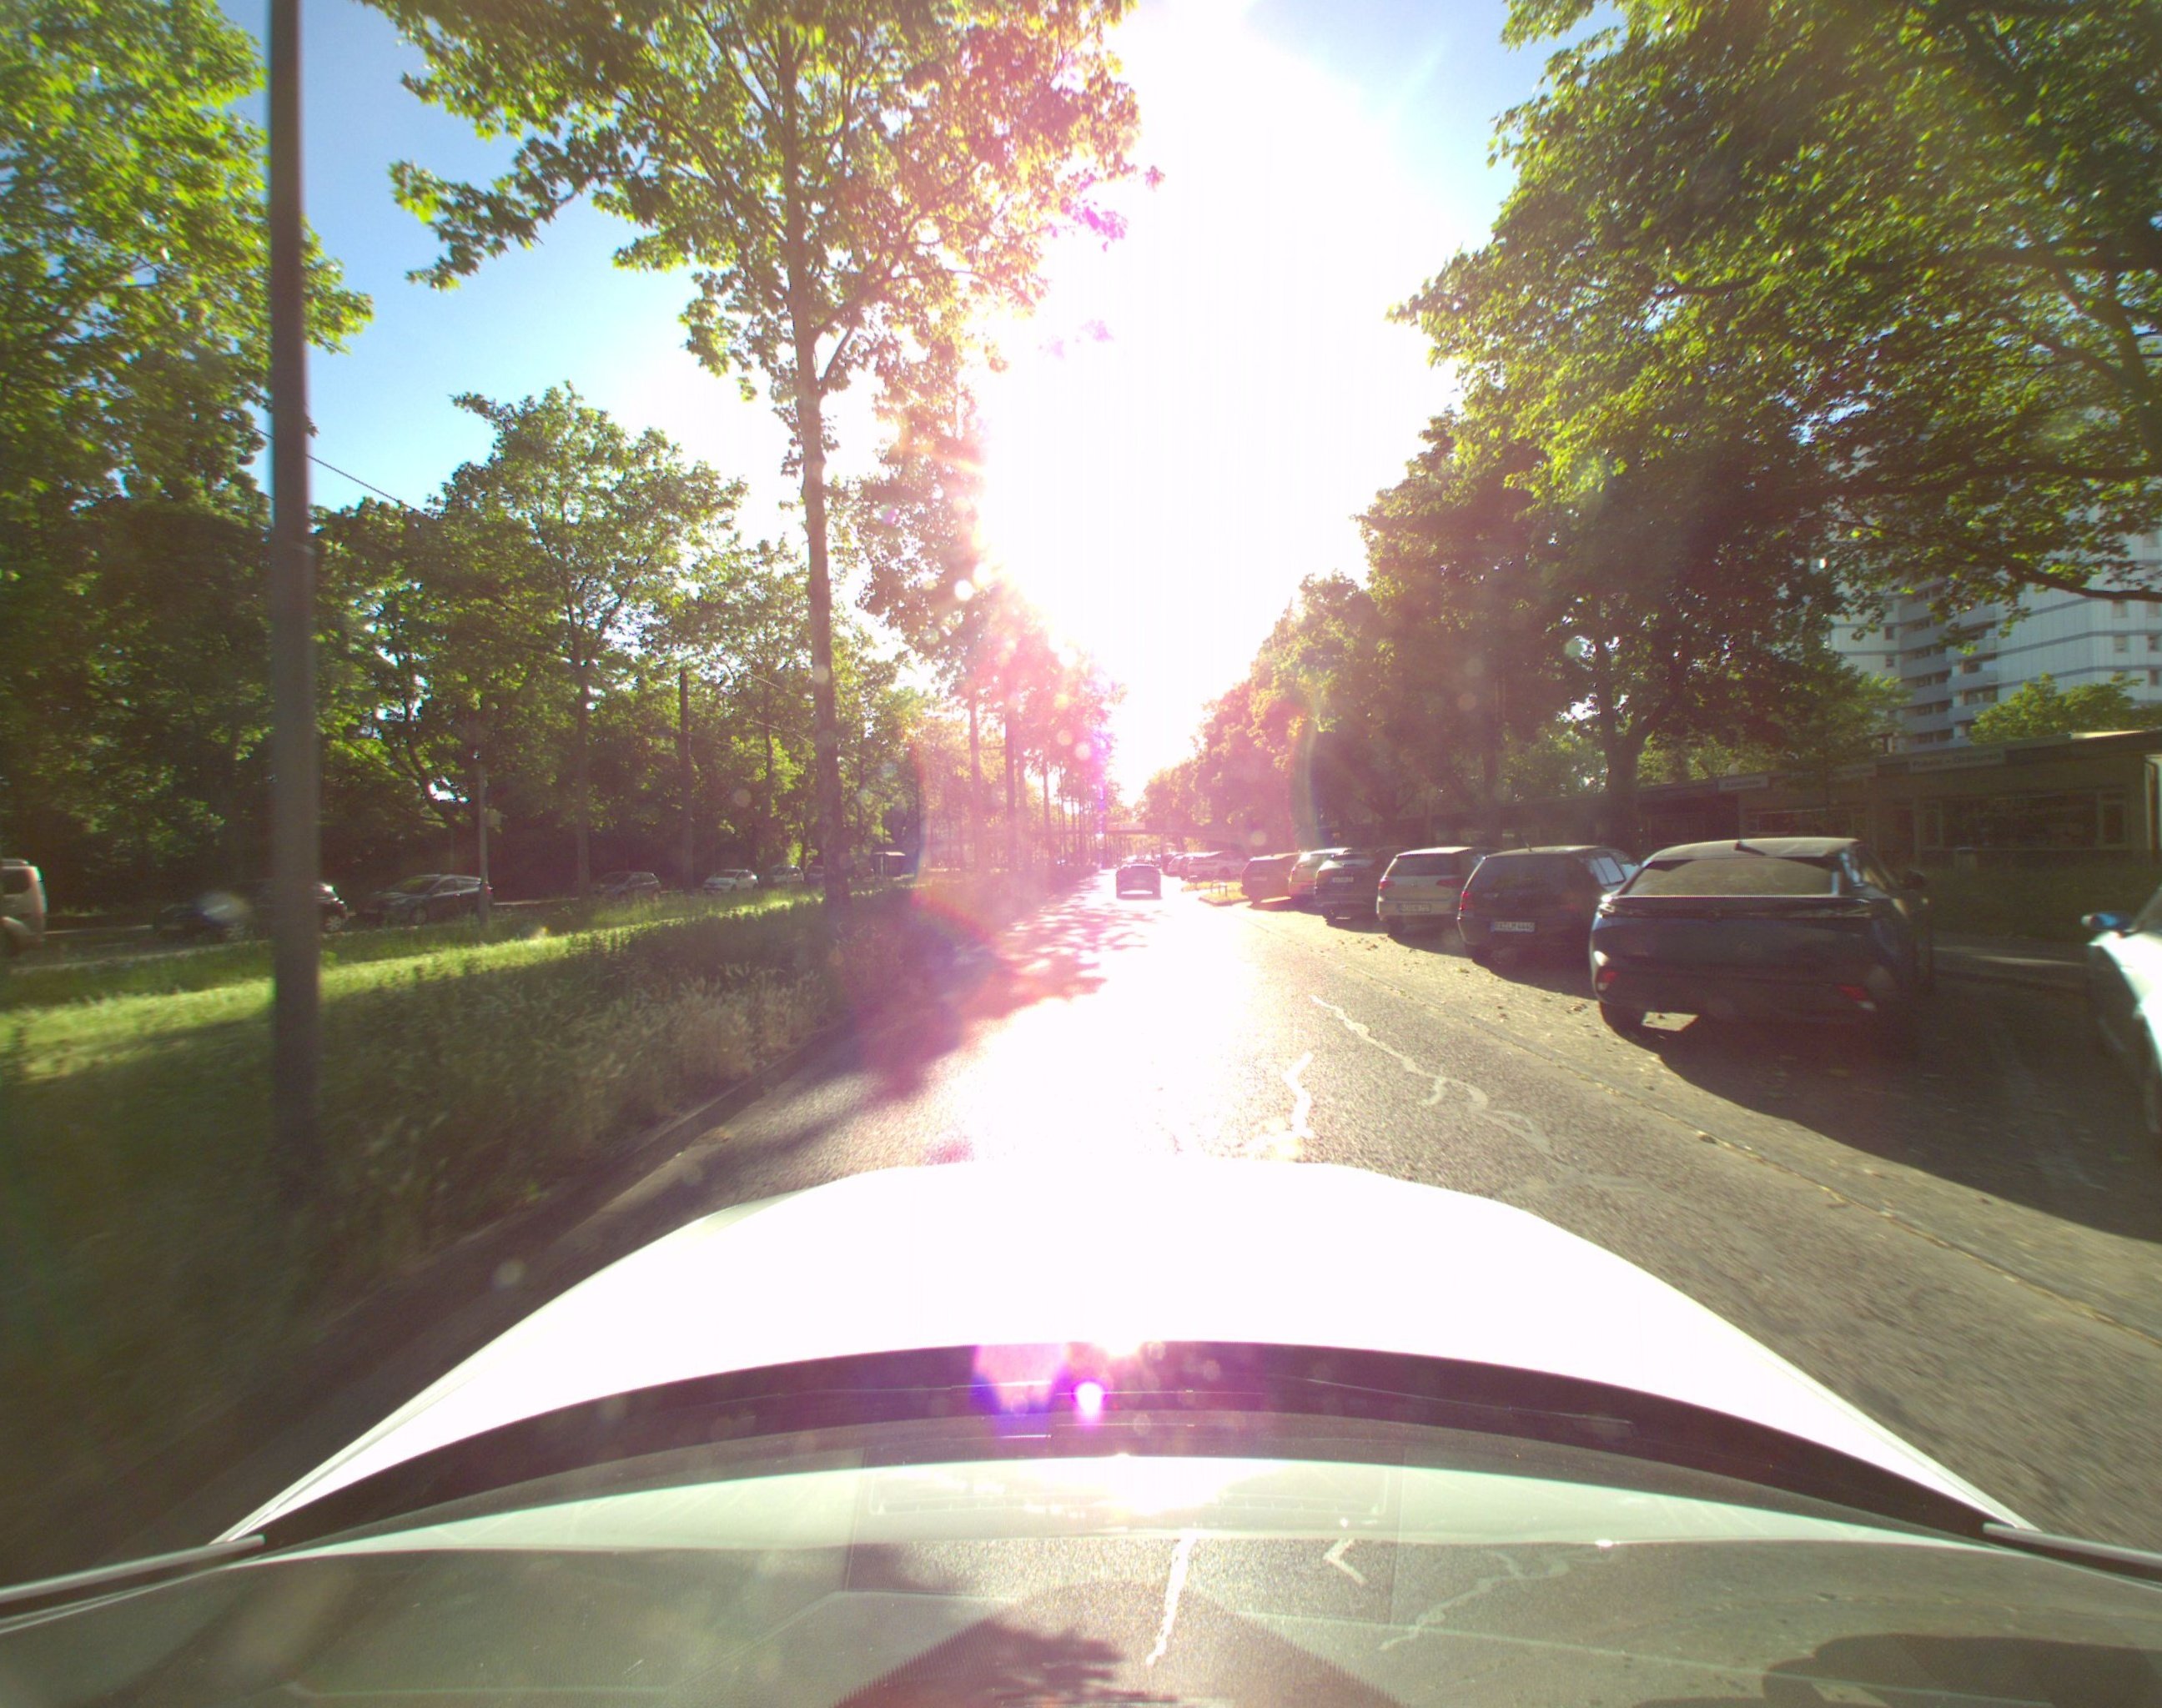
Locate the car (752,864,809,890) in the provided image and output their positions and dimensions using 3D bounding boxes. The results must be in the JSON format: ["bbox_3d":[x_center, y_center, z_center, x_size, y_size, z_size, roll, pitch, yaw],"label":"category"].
[{"bbox_3d":[-20.018,1.511,54.380,1.985,1.590,4.172,1,0,4],"label":"car"}]

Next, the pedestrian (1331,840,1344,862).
[{"bbox_3d":[23.909,-0.257,75.926,0.826,2.013,0.742,-1,0,-39],"label":"pedestrian"}]

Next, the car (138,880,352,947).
[{"bbox_3d":[-21.627,1.472,21.285,1.638,1.453,3.667,1,0,4],"label":"car"}]

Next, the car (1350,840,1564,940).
[{"bbox_3d":[6.927,0.578,14.763,4.487,1.450,1.896,-2,-1,-43],"label":"car"}]

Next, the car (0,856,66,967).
[{"bbox_3d":[-21.587,1.104,14.103,1.638,2.093,4.920,1,0,4],"label":"car"}]

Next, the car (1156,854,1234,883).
[{"bbox_3d":[6.684,0.809,47.414,4.649,1.521,1.835,-2,0,-41],"label":"car"}]

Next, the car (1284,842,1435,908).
[{"bbox_3d":[7.711,0.520,22.328,4.650,1.570,1.834,-2,0,-42],"label":"car"}]

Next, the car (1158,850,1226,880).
[{"bbox_3d":[7.080,0.689,51.576,1.833,1.680,4.638,-5,-2,44],"label":"car"}]

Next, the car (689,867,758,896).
[{"bbox_3d":[-20.578,1.556,47.072,1.985,1.453,4.004,1,0,4],"label":"car"}]

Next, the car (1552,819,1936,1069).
[{"bbox_3d":[5.824,0.496,6.931,4.353,1.424,1.834,-3,0,-42],"label":"car"}]

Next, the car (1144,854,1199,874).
[{"bbox_3d":[7.644,0.801,68.537,4.648,1.614,1.835,-1,0,-41],"label":"car"}]

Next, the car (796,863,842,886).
[{"bbox_3d":[-19.275,1.479,60.197,1.779,1.590,4.172,1,0,4],"label":"car"}]

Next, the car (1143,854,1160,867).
[{"bbox_3d":[9.330,0.803,108.001,1.985,1.651,4.003,-1,0,3],"label":"car"}]

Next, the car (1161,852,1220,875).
[{"bbox_3d":[8.485,0.739,62.796,4.648,1.680,1.835,-1,0,-41],"label":"car"}]

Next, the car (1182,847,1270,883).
[{"bbox_3d":[7.329,0.528,40.957,4.648,1.680,1.835,-1,0,-41],"label":"car"}]

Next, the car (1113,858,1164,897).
[{"bbox_3d":[2.274,0.891,32.887,1.914,1.411,4.003,-1,0,3],"label":"car"}]

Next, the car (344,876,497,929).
[{"bbox_3d":[-21.246,1.523,26.391,1.864,1.453,3.578,1,0,4],"label":"car"}]

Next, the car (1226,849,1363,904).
[{"bbox_3d":[6.678,0.637,25.158,4.651,1.459,1.955,-2,0,-44],"label":"car"}]

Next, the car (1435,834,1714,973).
[{"bbox_3d":[6.885,0.560,11.165,4.485,1.450,1.897,-3,-1,-41],"label":"car"}]

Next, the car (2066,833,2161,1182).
[{"bbox_3d":[6.494,0.567,4.136,4.353,1.297,1.671,-3,0,-42],"label":"car"}]

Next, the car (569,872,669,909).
[{"bbox_3d":[-20.693,1.597,36.691,1.985,1.453,4.004,1,0,4],"label":"car"}]

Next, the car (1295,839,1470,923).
[{"bbox_3d":[7.013,0.541,18.663,4.651,1.570,1.834,-3,0,-43],"label":"car"}]

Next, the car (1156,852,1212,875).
[{"bbox_3d":[8.376,0.752,65.784,4.648,1.768,1.835,-1,0,-41],"label":"car"}]
